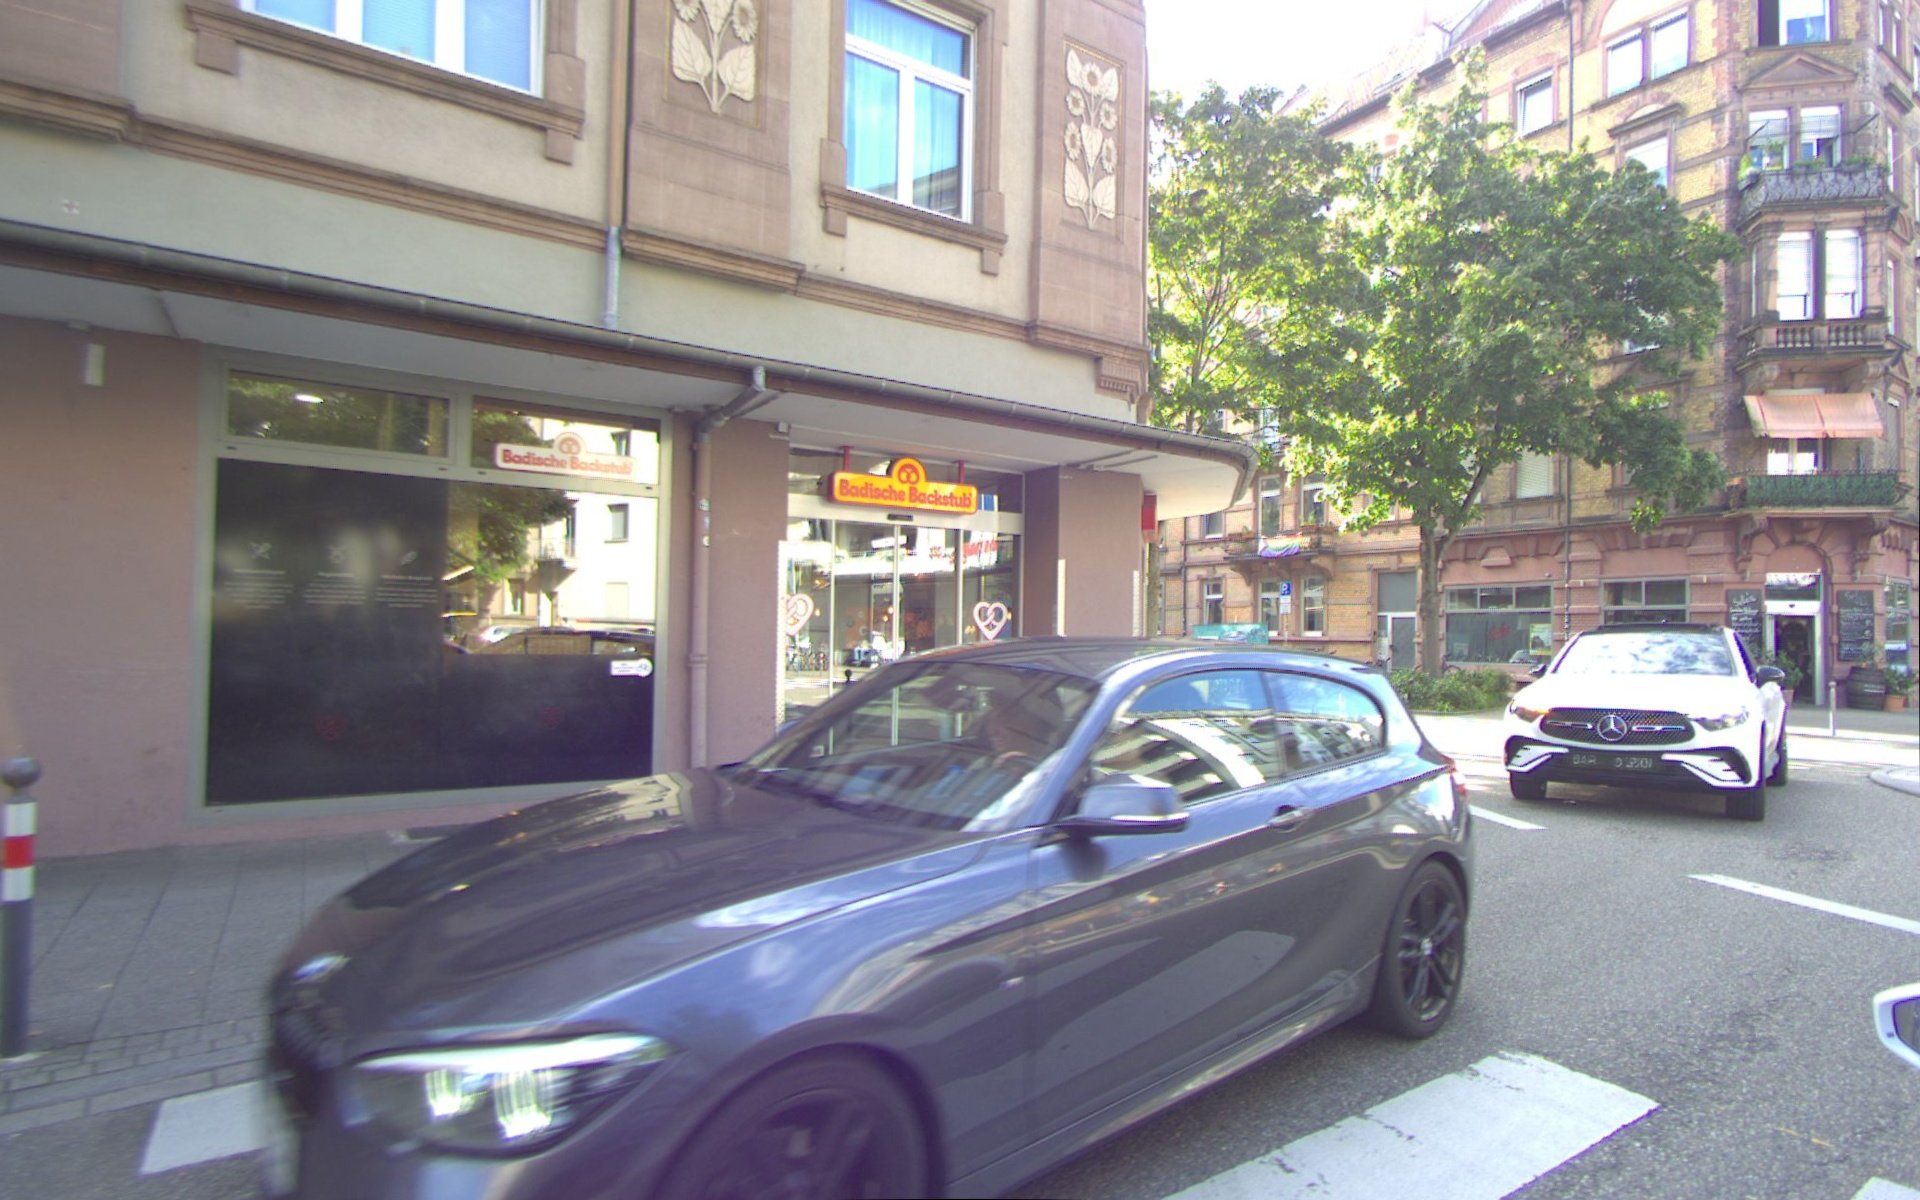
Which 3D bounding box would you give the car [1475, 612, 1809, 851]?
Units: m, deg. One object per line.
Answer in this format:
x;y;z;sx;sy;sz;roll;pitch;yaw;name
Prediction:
6.821;1.050;9.784;1.922;1.744;4.821;-3;-3;43;car

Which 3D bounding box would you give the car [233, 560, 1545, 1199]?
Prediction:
0.239;0.771;3.371;4.179;1.455;1.735;3;-2;-41;car

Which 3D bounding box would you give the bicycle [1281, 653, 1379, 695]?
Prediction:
10.910;2.170;29.737;0.626;1.138;2.876;2;-3;-36;bicycle

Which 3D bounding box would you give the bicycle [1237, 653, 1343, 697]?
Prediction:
9.267;2.100;28.392;0.626;1.138;3.075;2;-3;-36;bicycle

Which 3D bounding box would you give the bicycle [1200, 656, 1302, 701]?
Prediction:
7.961;2.135;27.660;0.719;1.138;2.876;2;-3;-36;bicycle

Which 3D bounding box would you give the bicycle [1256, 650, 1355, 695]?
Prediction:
9.880;2.054;28.881;0.626;1.206;2.876;2;-3;-36;bicycle

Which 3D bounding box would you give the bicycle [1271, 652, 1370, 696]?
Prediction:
10.463;2.128;29.317;0.626;1.213;2.876;2;-3;-36;bicycle

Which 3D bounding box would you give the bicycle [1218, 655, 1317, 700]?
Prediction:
8.529;2.131;28.027;0.626;1.138;2.876;2;-3;-36;bicycle
